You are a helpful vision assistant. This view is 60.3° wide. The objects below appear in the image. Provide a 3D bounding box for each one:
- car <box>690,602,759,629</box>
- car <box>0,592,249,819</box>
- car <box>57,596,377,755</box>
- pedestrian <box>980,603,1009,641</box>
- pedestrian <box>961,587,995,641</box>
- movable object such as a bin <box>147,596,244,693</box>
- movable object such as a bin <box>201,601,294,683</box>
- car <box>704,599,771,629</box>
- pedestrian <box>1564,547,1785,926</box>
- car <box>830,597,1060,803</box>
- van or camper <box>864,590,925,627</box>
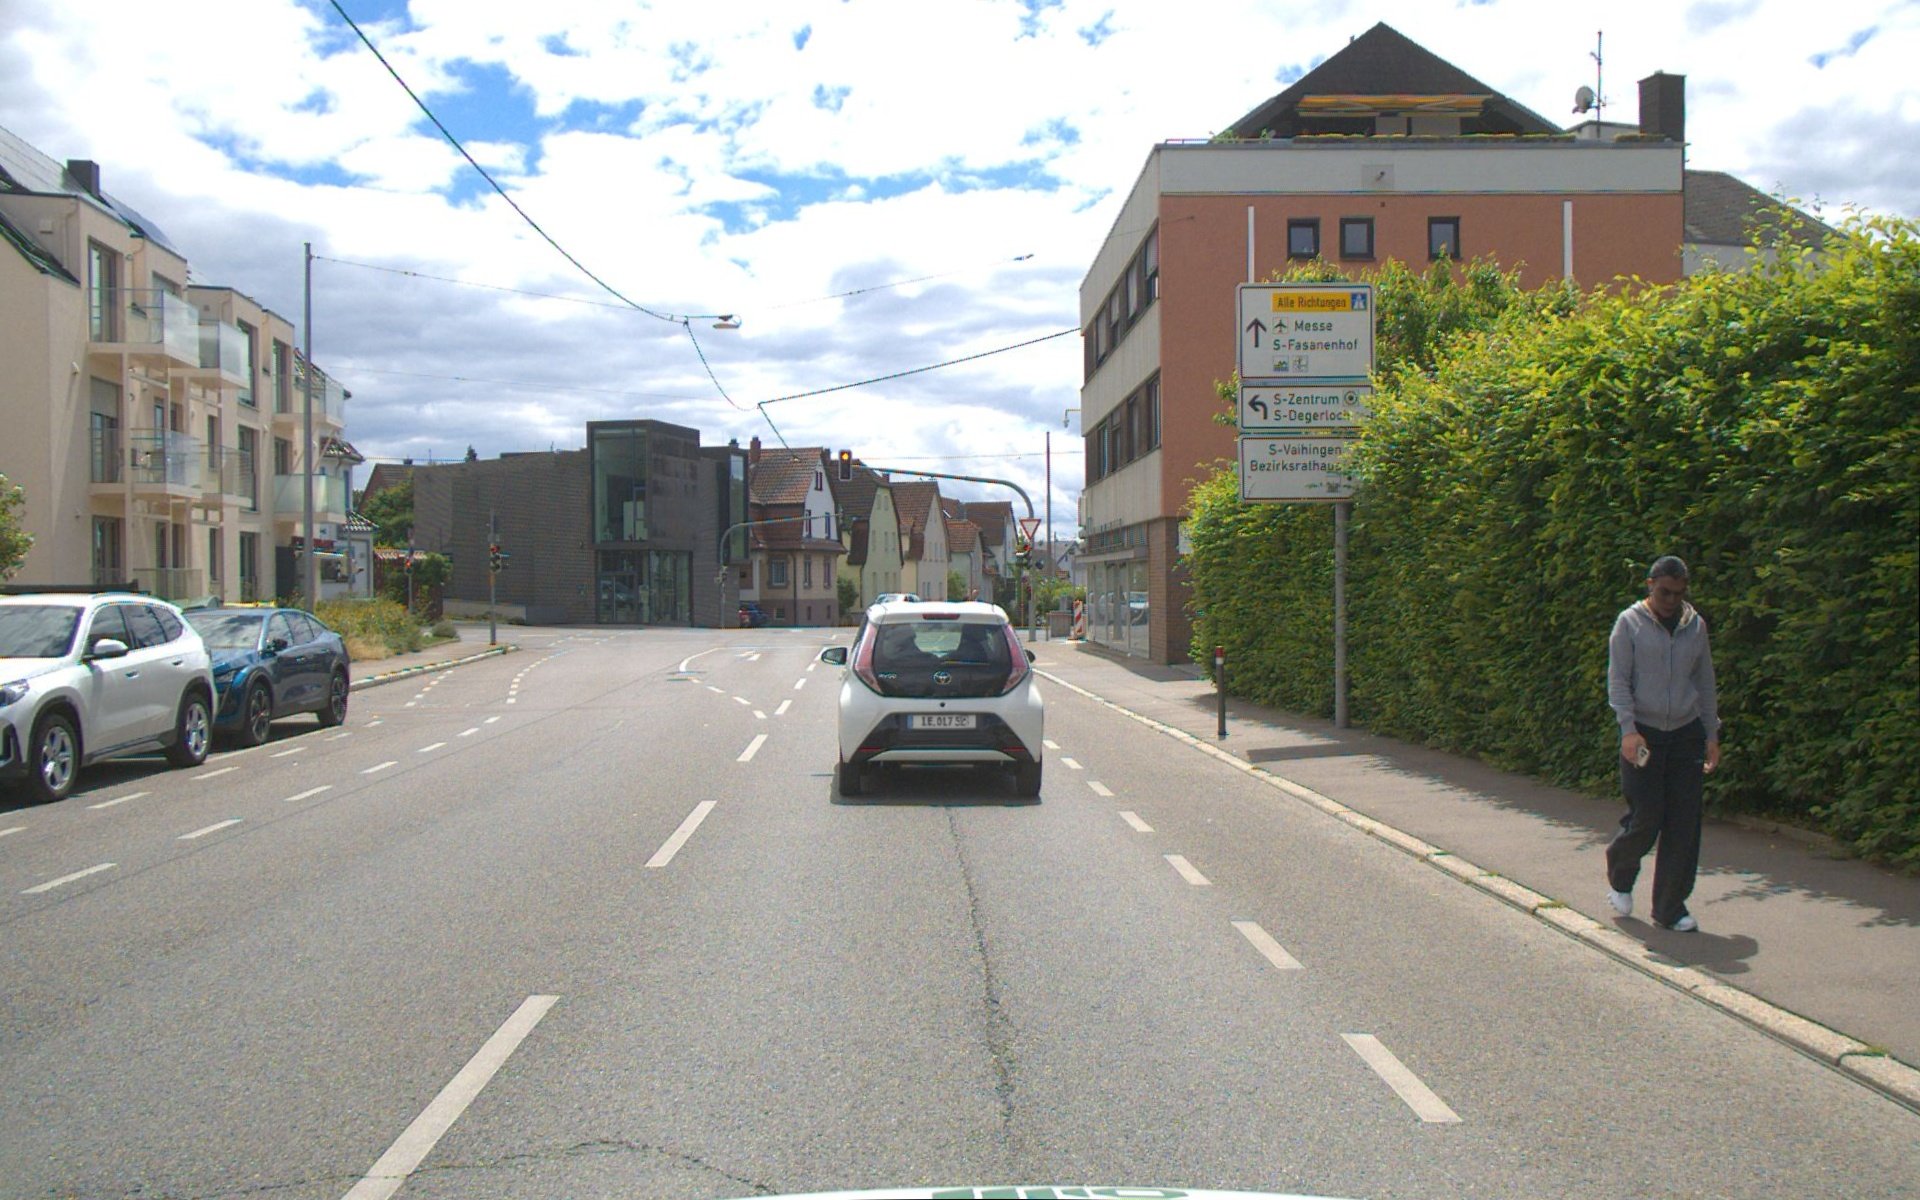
[{"bbox_3d":[-13.534,0.892,95.084,3.537,1.444,1.693,1,0,9],"label":"car"},{"bbox_3d":[-8.108,0.788,14.466,1.953,1.679,4.515,-1,0,-2],"label":"car"},{"bbox_3d":[-8.483,0.773,19.384,1.954,1.615,4.485,-1,0,-4],"label":"car"},{"bbox_3d":[1.107,0.708,53.762,0.725,1.243,0.639,0,0,-30],"label":"pedestrian"},{"bbox_3d":[0.586,0.445,54.306,0.813,1.751,0.810,0,0,-29],"label":"pedestrian"},{"bbox_3d":[-12.355,0.700,26.765,1.044,1.508,1.213,-1,0,-4],"label":"movable object such as a bin"},{"bbox_3d":[-12.060,0.697,28.027,1.043,1.336,1.214,-1,0,-1],"label":"movable object such as a bin"},{"bbox_3d":[-13.050,0.813,97.230,3.537,1.633,1.693,1,0,9],"label":"car"},{"bbox_3d":[3.282,0.594,7.663,0.590,1.633,0.836,-2,0,-1],"label":"pedestrian"},{"bbox_3d":[-0.136,0.742,13.810,1.662,1.482,3.298,1,0,-1],"label":"car"},{"bbox_3d":[-3.616,0.472,92.396,2.070,1.959,5.289,1,0,12],"label":"van or camper"}]
